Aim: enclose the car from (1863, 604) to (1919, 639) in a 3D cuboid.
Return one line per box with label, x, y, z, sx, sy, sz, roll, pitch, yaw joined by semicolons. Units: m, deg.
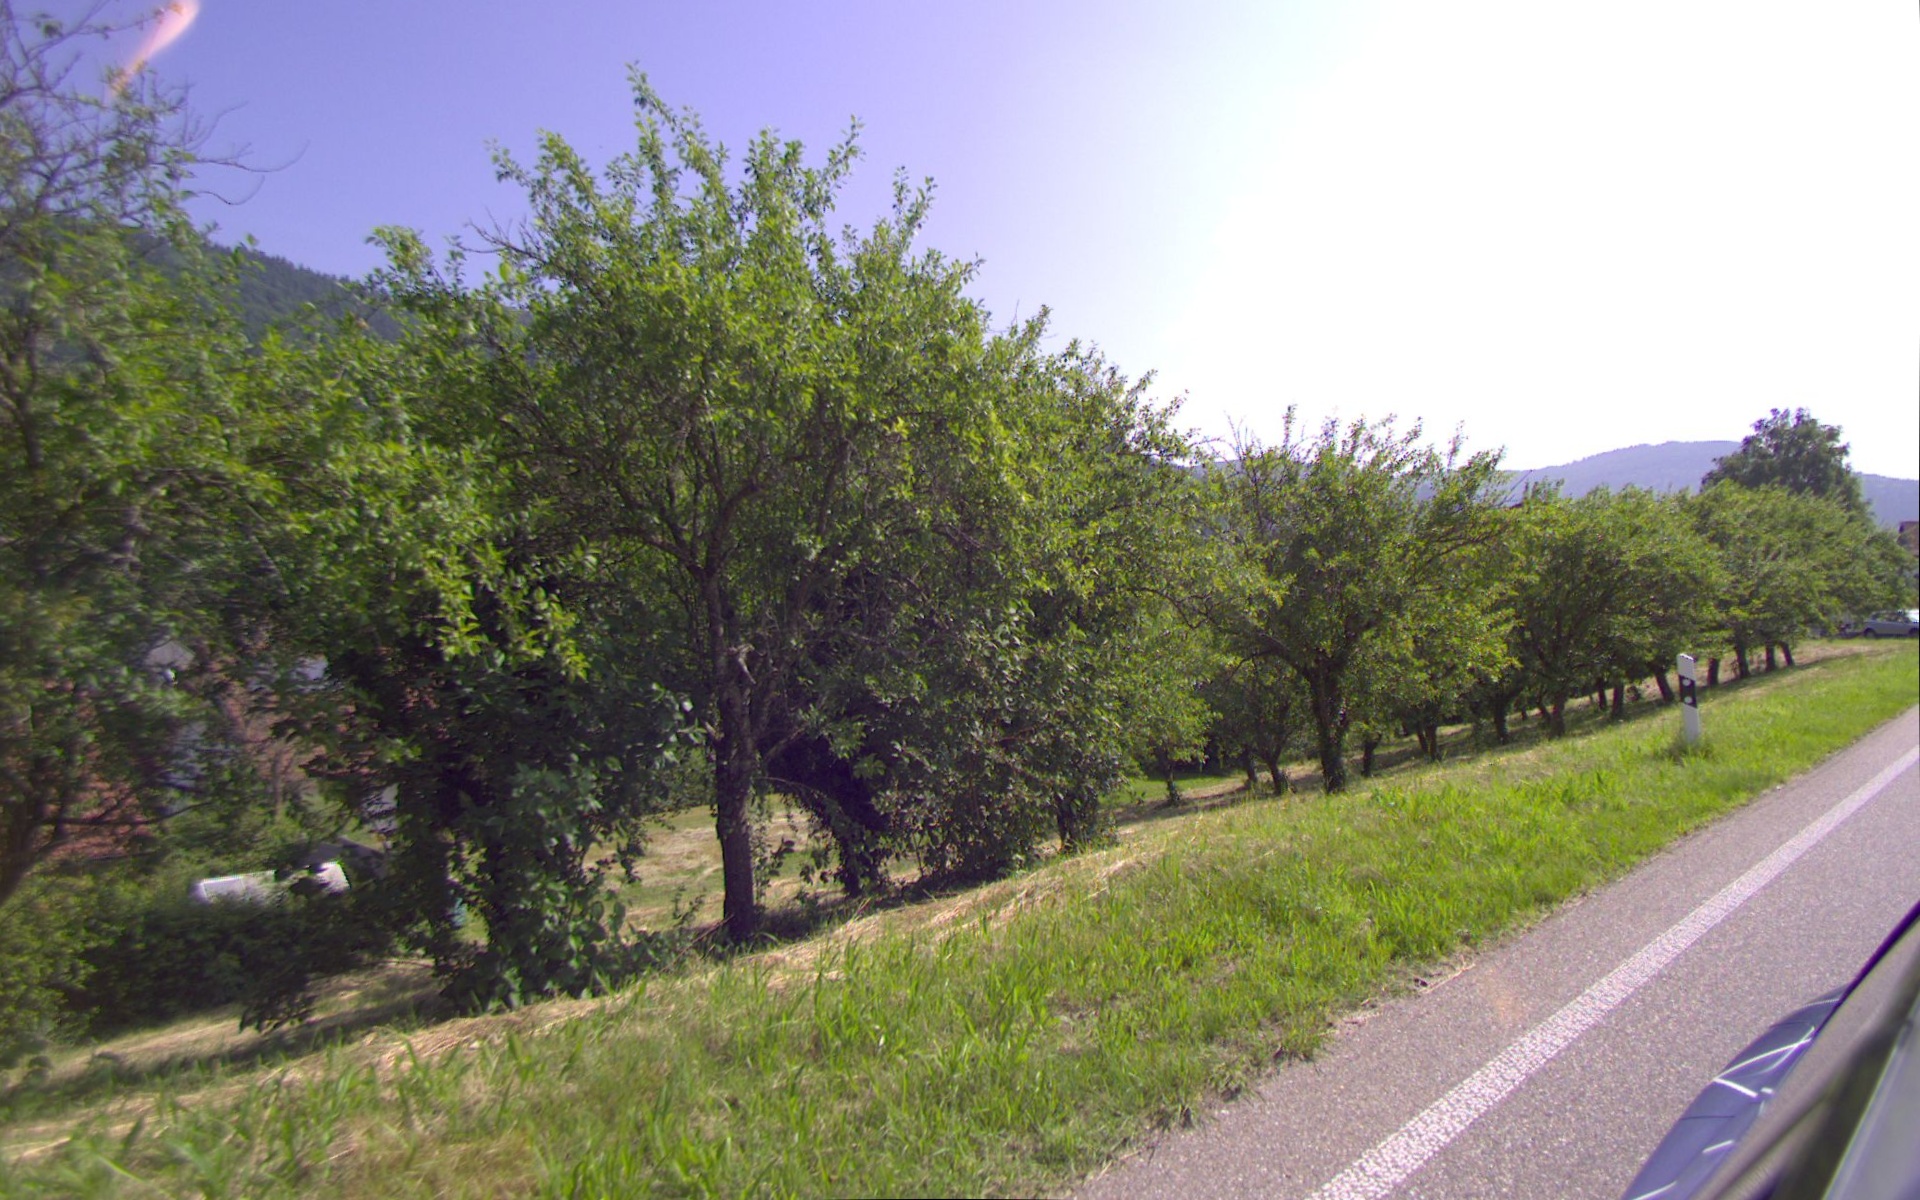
car;45.571;0.985;47.834;1.871;1.591;4.455;-2;-3;4
